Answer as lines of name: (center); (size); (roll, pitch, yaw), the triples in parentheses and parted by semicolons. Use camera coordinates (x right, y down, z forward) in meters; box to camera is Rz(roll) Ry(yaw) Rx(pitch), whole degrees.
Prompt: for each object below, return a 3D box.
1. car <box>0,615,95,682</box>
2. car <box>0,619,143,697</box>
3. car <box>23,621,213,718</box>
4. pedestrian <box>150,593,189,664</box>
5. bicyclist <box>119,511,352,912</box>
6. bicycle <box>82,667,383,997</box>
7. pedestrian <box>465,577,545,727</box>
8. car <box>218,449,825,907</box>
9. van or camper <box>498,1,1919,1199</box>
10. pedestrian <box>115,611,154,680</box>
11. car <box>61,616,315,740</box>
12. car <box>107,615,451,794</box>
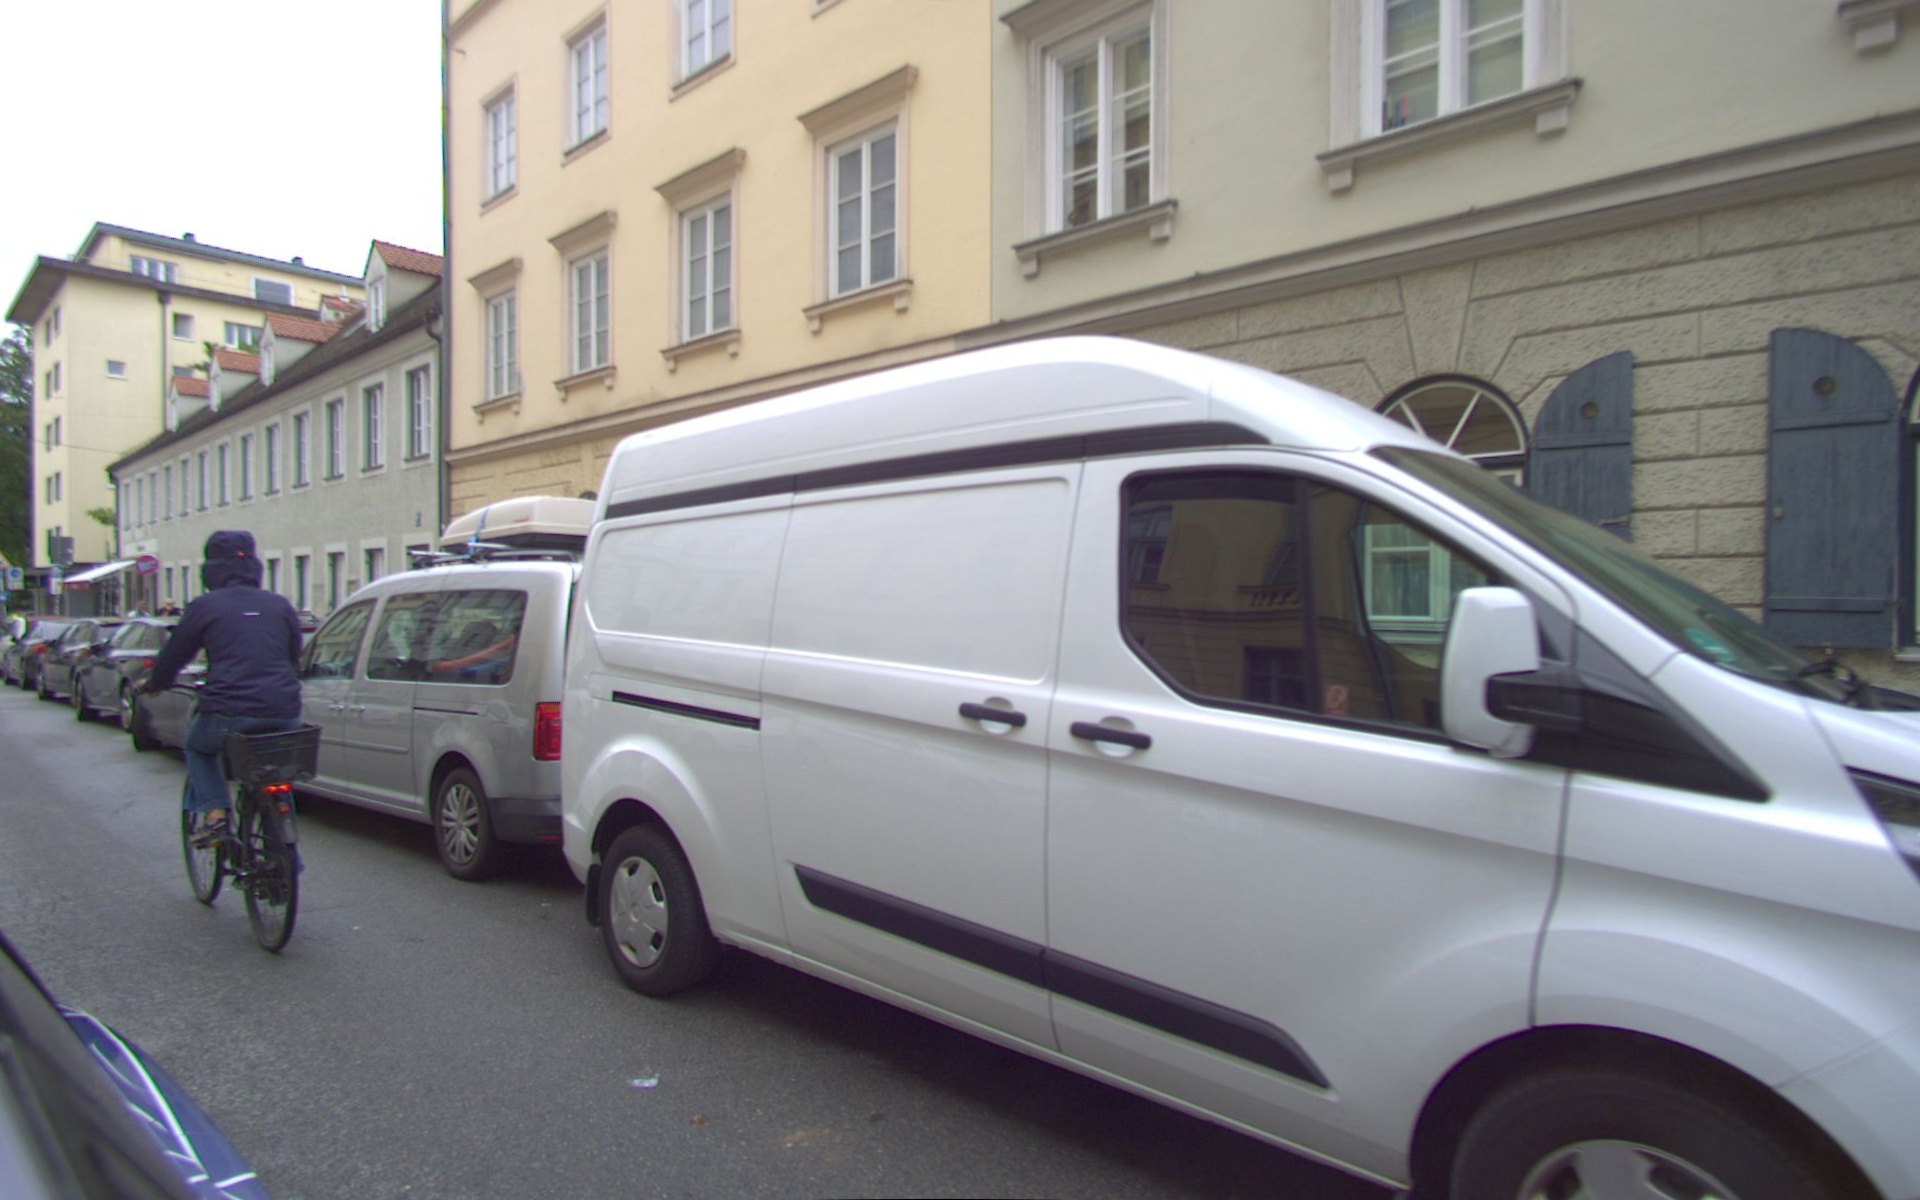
car: (-22.793, 1.151, 25.008); (3.420, 1.526, 1.553); (-1, 0, 39)
car: (-18.760, 1.139, 21.248); (4.268, 1.412, 1.838); (-1, 0, 42)
car: (-14.589, 1.096, 17.455); (4.267, 1.412, 1.838); (-1, 0, 41)
pedestrian: (-19.391, 0.696, 24.829); (0.805, 1.711, 0.574); (-1, -1, 39)
bicyclist: (-3.353, 0.459, 4.677); (0.852, 1.639, 0.679); (-1, 0, 41)
bicycle: (-3.513, 0.948, 4.806); (1.998, 1.159, 0.725); (-1, -1, 41)
pedestrian: (-6.380, 0.705, 14.188); (0.750, 2.029, 0.796); (-1, -1, 43)
car: (-3.231, 0.398, 7.023); (4.553, 2.218, 1.840); (-1, 0, 37)
van or camper: (0.559, 0.348, 3.506); (5.478, 2.329, 1.972); (-1, -1, 43)
pedestrian: (-19.665, 1.074, 24.109); (0.662, 1.610, 0.607); (-1, -1, 39)
car: (-10.700, 0.954, 13.915); (4.265, 1.412, 1.839); (-1, 0, 39)
car: (-7.085, 0.890, 10.355); (4.266, 1.412, 1.838); (-1, 0, 40)
